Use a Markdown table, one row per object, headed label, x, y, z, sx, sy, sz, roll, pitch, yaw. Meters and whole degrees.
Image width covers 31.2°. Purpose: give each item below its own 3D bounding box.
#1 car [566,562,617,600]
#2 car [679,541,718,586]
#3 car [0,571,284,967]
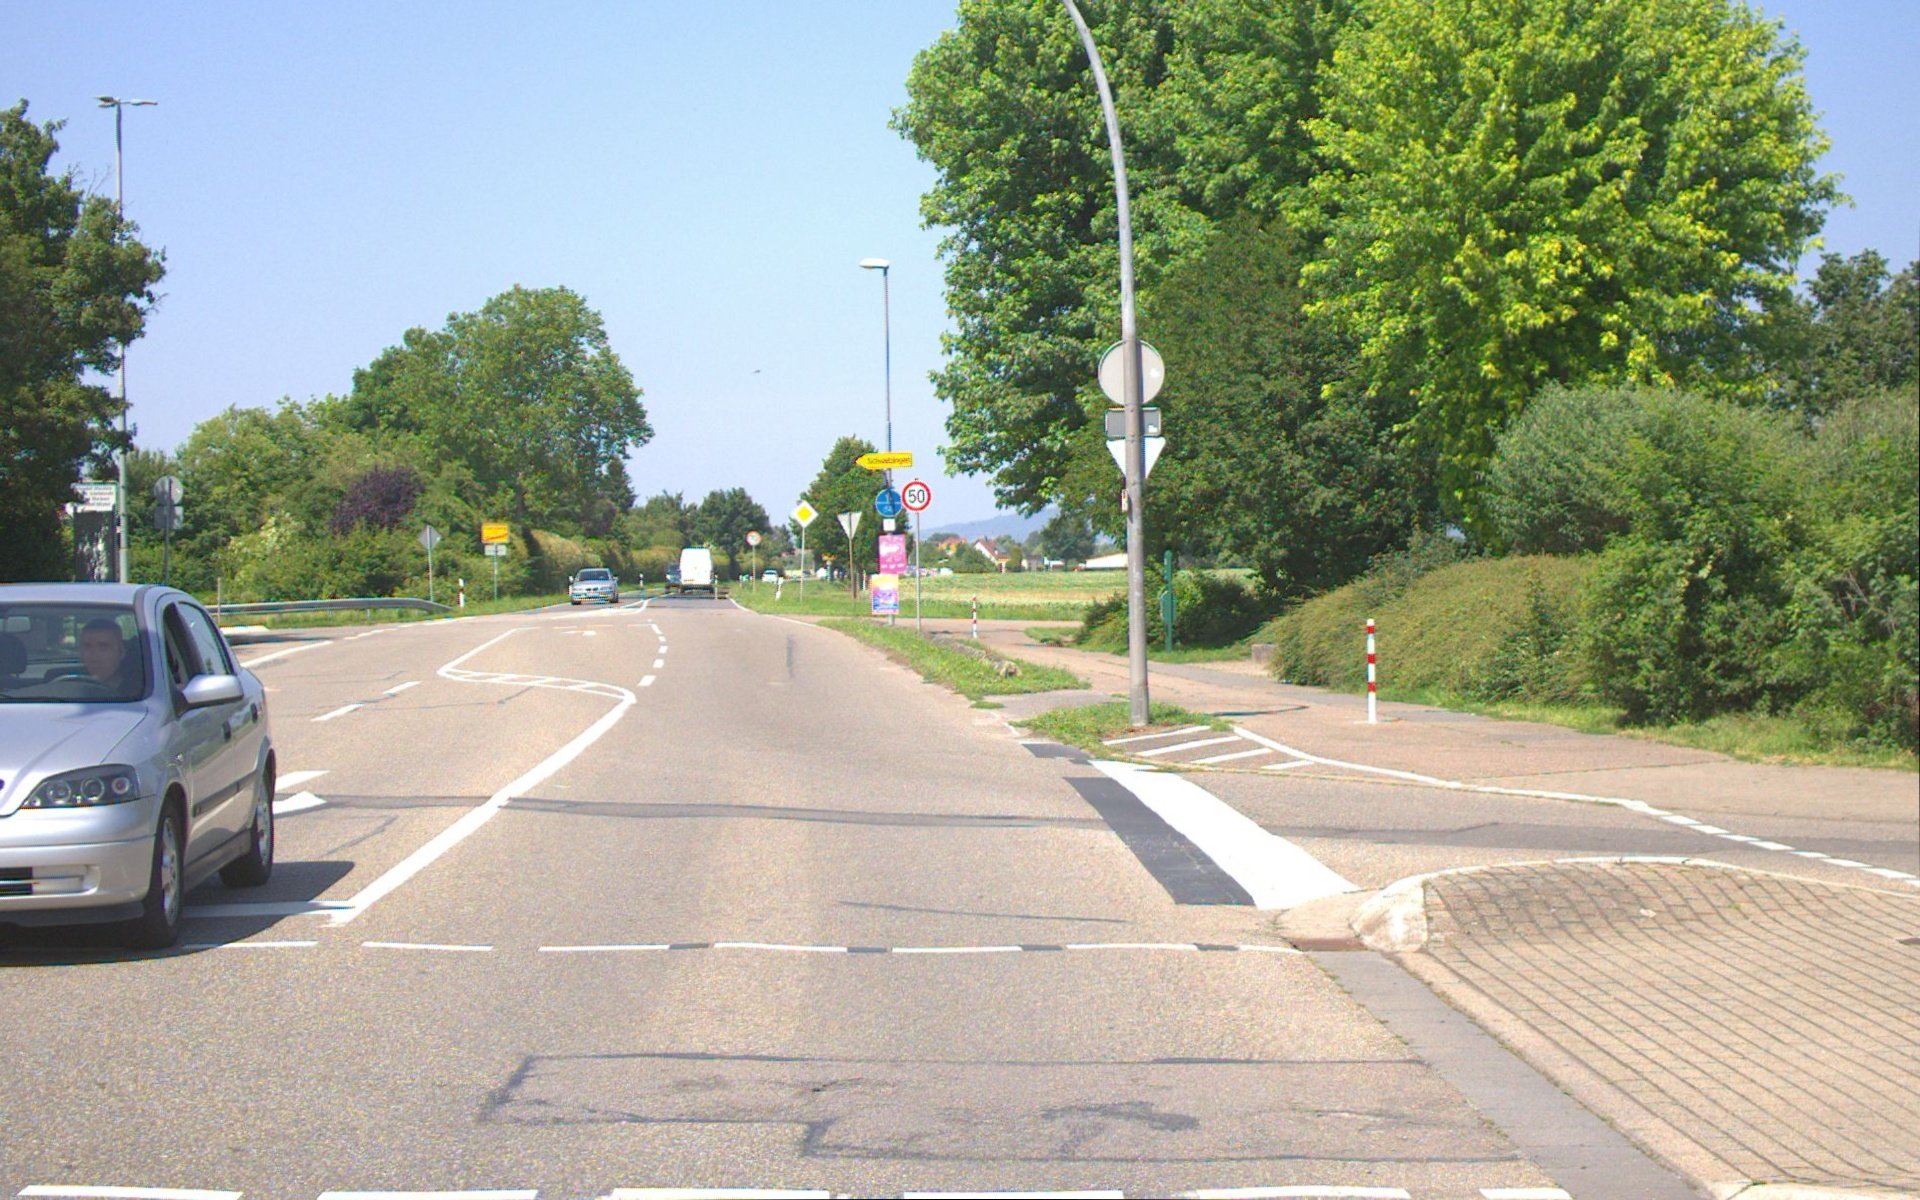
| label | x | y | z | sx | sy | sz | roll | pitch | yaw |
| --- | --- | --- | --- | --- | --- | --- | --- | --- | --- |
| car | -14.690 | -0.778 | 137.068 | 1.636 | 1.466 | 4.416 | -1 | 1 | -1 |
| car | -15.688 | -2.176 | 206.104 | 1.993 | 2.642 | 4.001 | -1 | 1 | -8 |
| car | -3.907 | 0.593 | 14.240 | 1.699 | 1.399 | 3.980 | -1 | 1 | -4 |
